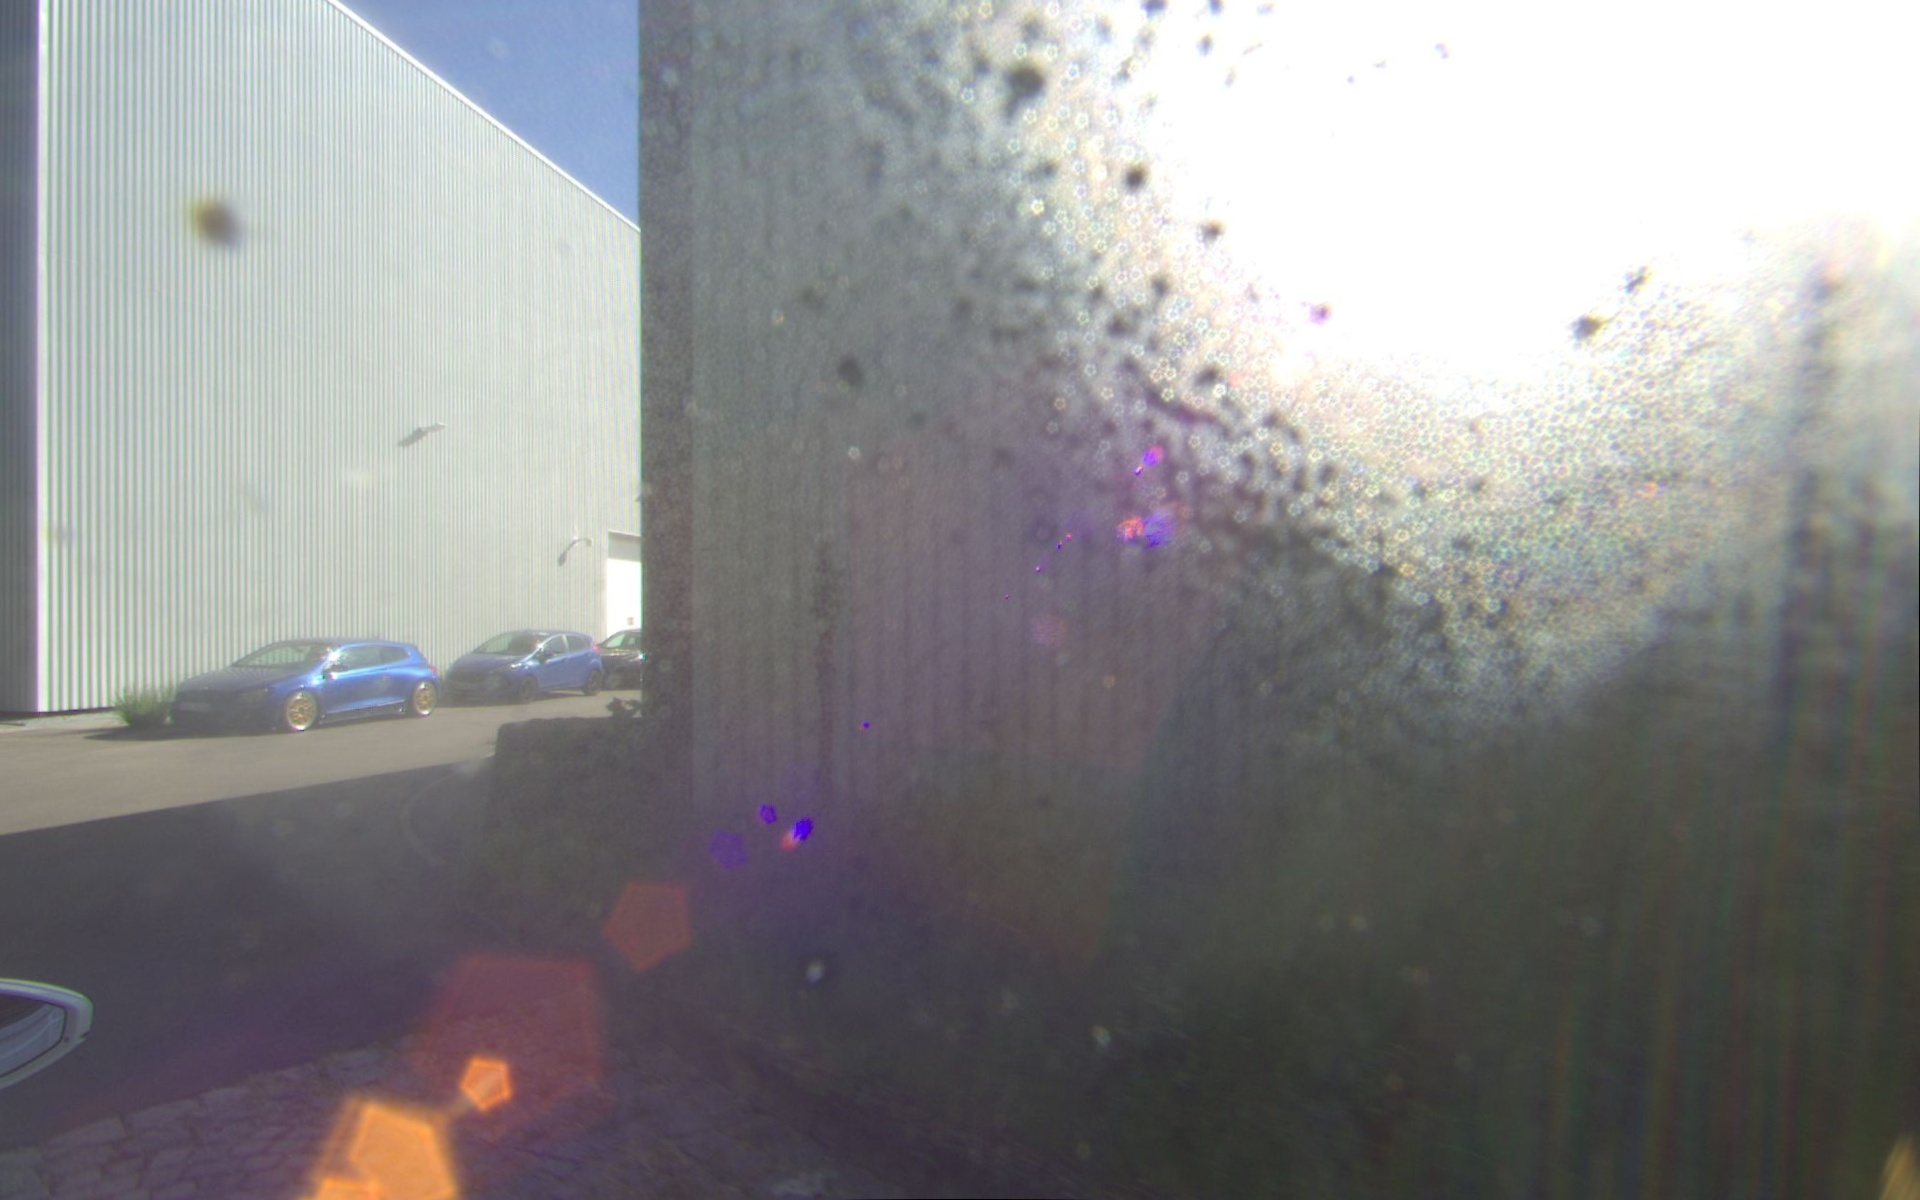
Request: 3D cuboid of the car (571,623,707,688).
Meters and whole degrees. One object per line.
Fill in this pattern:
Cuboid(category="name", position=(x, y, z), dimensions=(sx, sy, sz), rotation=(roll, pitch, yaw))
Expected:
Cuboid(category="car", position=(-8.309, 1.400, 26.296), dimensions=(1.624, 1.465, 3.876), rotation=(3, -1, 12))

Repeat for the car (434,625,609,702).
Cuboid(category="car", position=(-9.277, 1.281, 21.519), dimensions=(1.594, 1.466, 3.764), rotation=(1, -1, 10))

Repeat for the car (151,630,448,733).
Cuboid(category="car", position=(-10.292, 1.196, 16.009), dimensions=(1.642, 1.367, 3.952), rotation=(2, -1, 11))
